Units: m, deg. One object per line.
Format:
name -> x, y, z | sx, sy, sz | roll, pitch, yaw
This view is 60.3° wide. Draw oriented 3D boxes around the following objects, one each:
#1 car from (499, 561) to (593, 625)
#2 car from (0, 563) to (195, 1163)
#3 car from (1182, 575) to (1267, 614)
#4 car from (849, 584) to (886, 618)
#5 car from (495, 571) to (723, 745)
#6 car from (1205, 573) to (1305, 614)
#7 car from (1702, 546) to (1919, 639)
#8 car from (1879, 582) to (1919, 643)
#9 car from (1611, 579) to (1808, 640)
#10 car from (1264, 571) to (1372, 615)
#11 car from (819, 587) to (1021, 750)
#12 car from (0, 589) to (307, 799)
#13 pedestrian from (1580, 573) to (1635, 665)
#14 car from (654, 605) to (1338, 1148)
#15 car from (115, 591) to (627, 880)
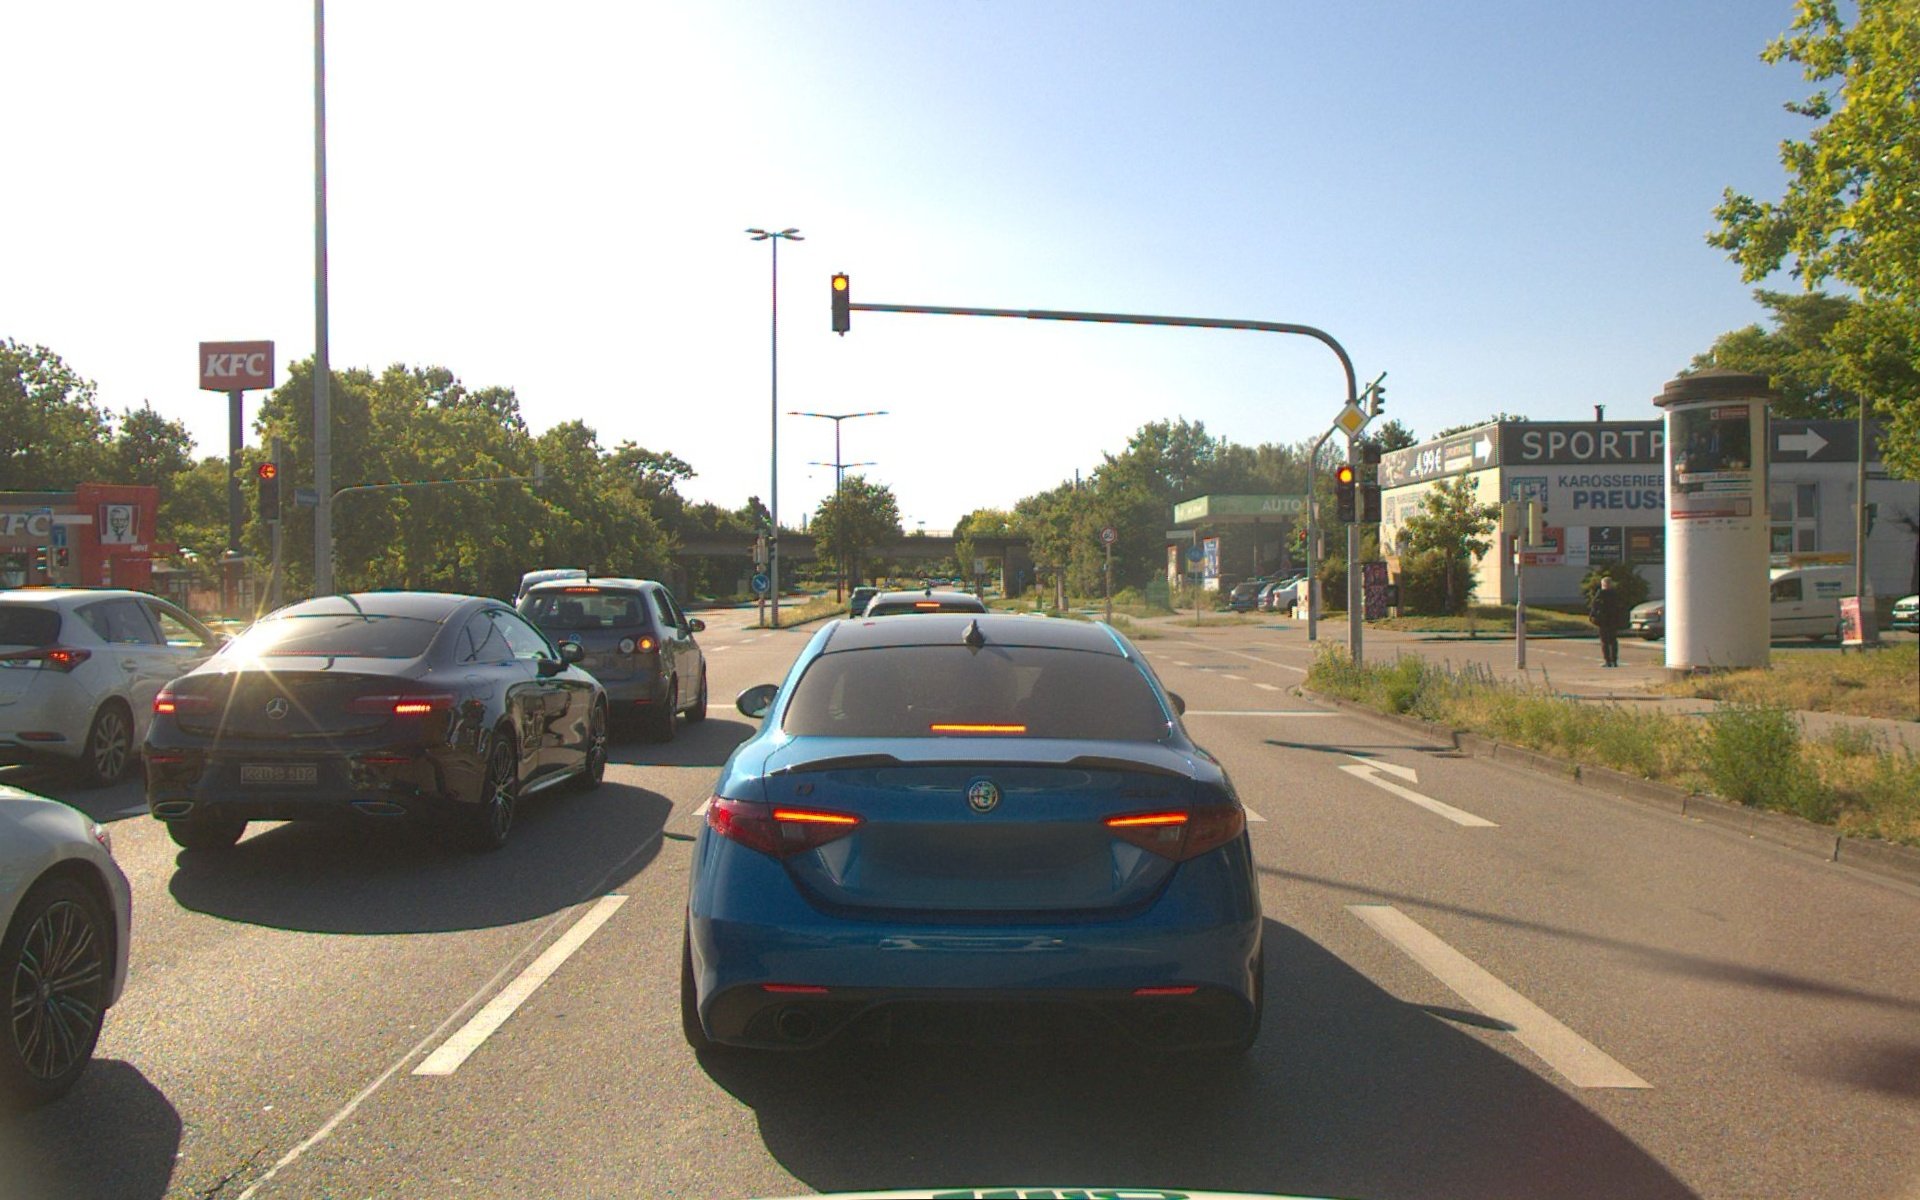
car -> -16.591, -0.305, 66.604 | 2.382, 2.469, 5.830 | 0, 1, -1
car -> -3.309, 0.684, 3.096 | 1.732, 1.535, 4.460 | 0, 0, -1
car -> 11.884, -0.259, 74.329 | 3.428, 1.736, 1.688 | 0, 0, -16
car -> -4.587, 0.031, 82.168 | 1.782, 1.622, 4.048 | 0, 1, -3
car -> -3.570, 0.526, 17.441 | 1.615, 1.626, 3.931 | 0, 0, -1
car -> 12.679, -0.265, 71.150 | 3.928, 1.736, 1.686 | 0, 0, -20
car -> 20.606, -0.186, 40.156 | 4.318, 2.183, 1.998 | 0, 0, -4
car -> 26.983, 0.319, 43.723 | 4.318, 1.580, 1.998 | 0, 0, -4
car -> 19.763, 0.228, 43.725 | 4.318, 1.580, 1.998 | 0, 0, -4
car -> 14.351, -0.275, 66.320 | 3.923, 1.736, 1.687 | 0, 0, -17
car -> -0.390, 0.610, 17.054 | 1.828, 1.475, 3.931 | 0, 0, -1
car -> -7.142, 0.635, 13.640 | 1.819, 1.454, 4.403 | 0, 0, -1
pedestrian -> 12.574, 0.358, 32.152 | 0.805, 1.752, 0.854 | 0, 0, 6
car -> 0.073, 0.748, 6.401 | 1.828, 1.409, 3.931 | 0, 0, -1
car -> -3.412, 0.671, 10.568 | 1.732, 1.439, 4.460 | 0, 0, -1
